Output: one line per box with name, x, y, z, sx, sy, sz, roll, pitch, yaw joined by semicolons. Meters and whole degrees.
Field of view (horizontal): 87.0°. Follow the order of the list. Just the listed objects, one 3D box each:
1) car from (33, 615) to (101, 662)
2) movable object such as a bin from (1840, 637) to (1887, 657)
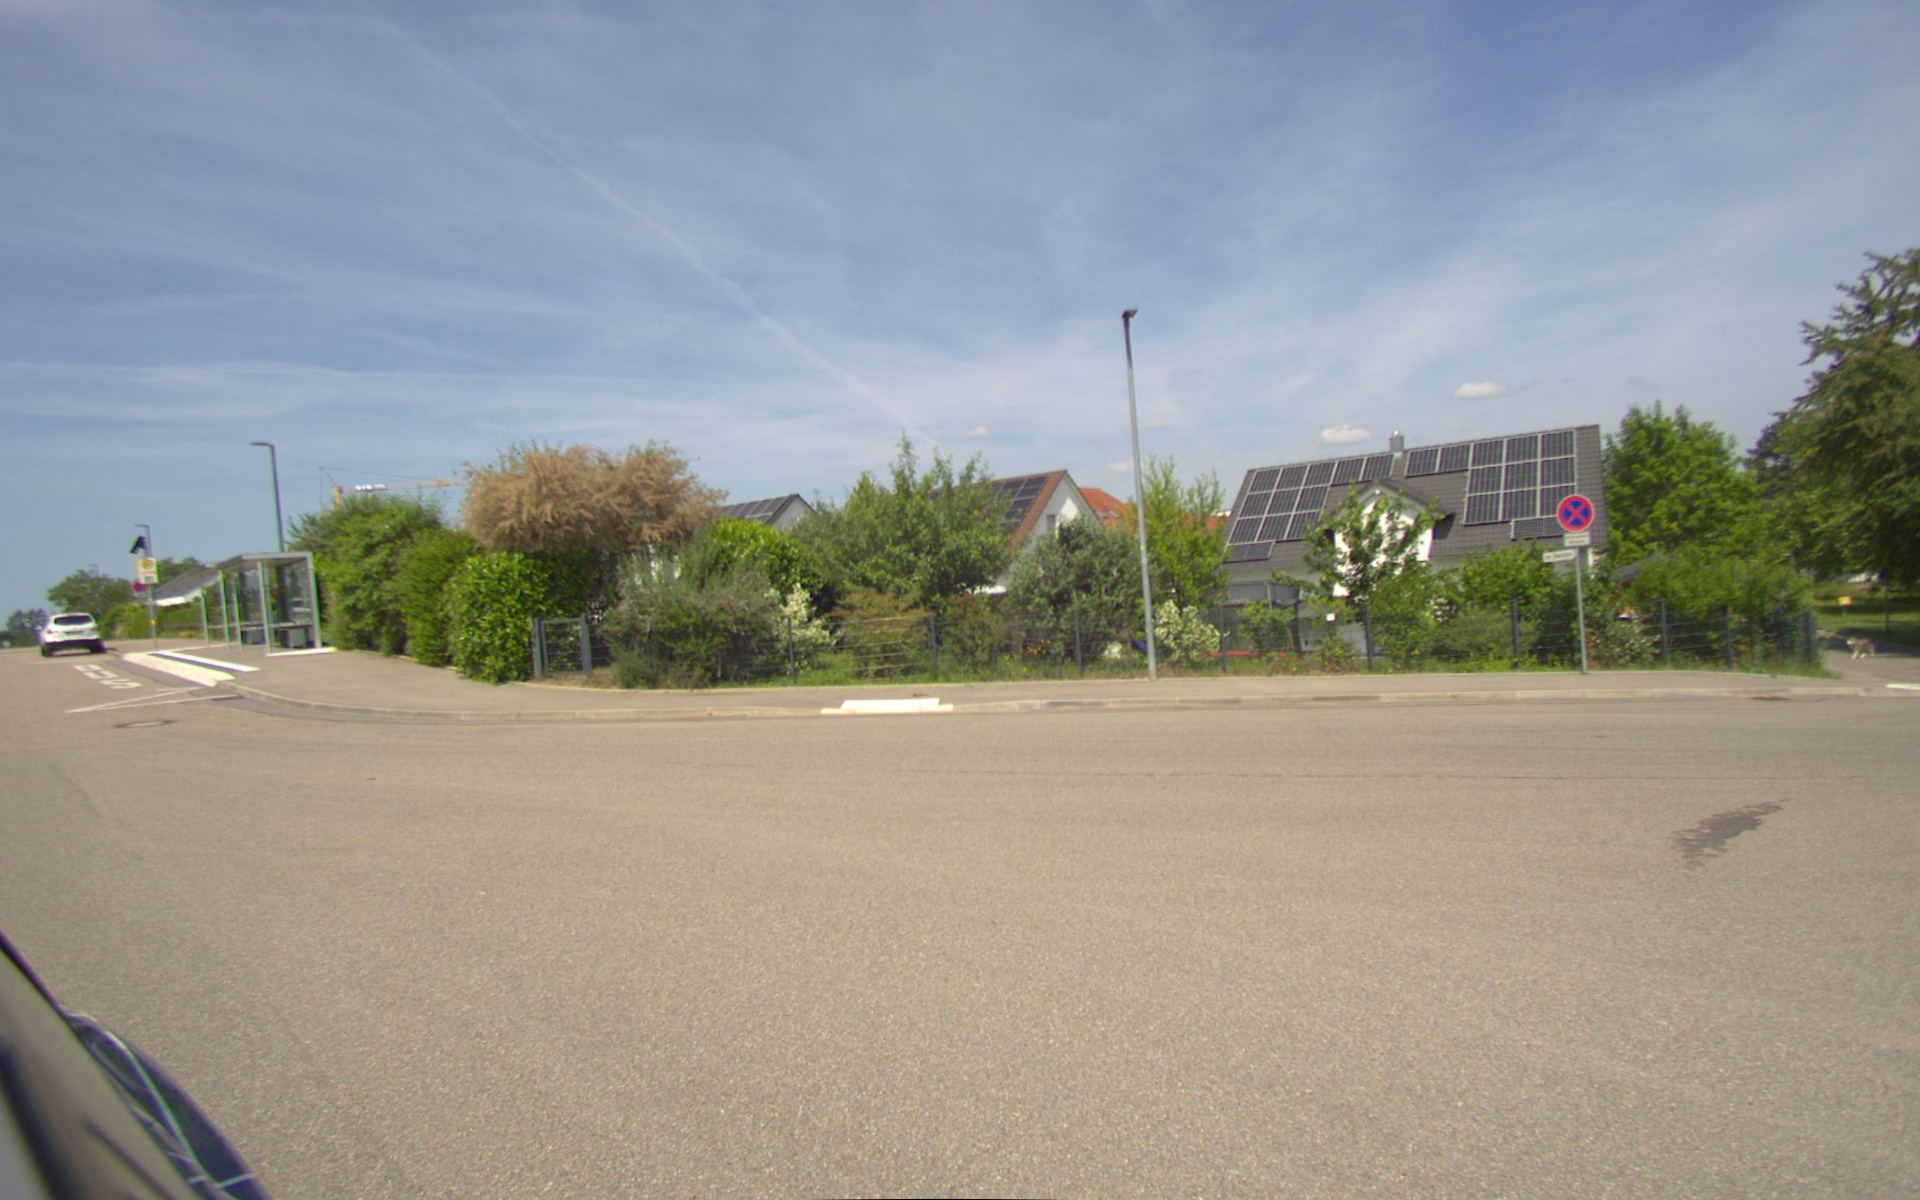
car;-35.720;1.507;40.430;1.715;1.645;4.355;-4;2;-45
movable object such as a bin;29.363;1.517;32.897;1.006;0.633;0.550;-1;-3;-2
